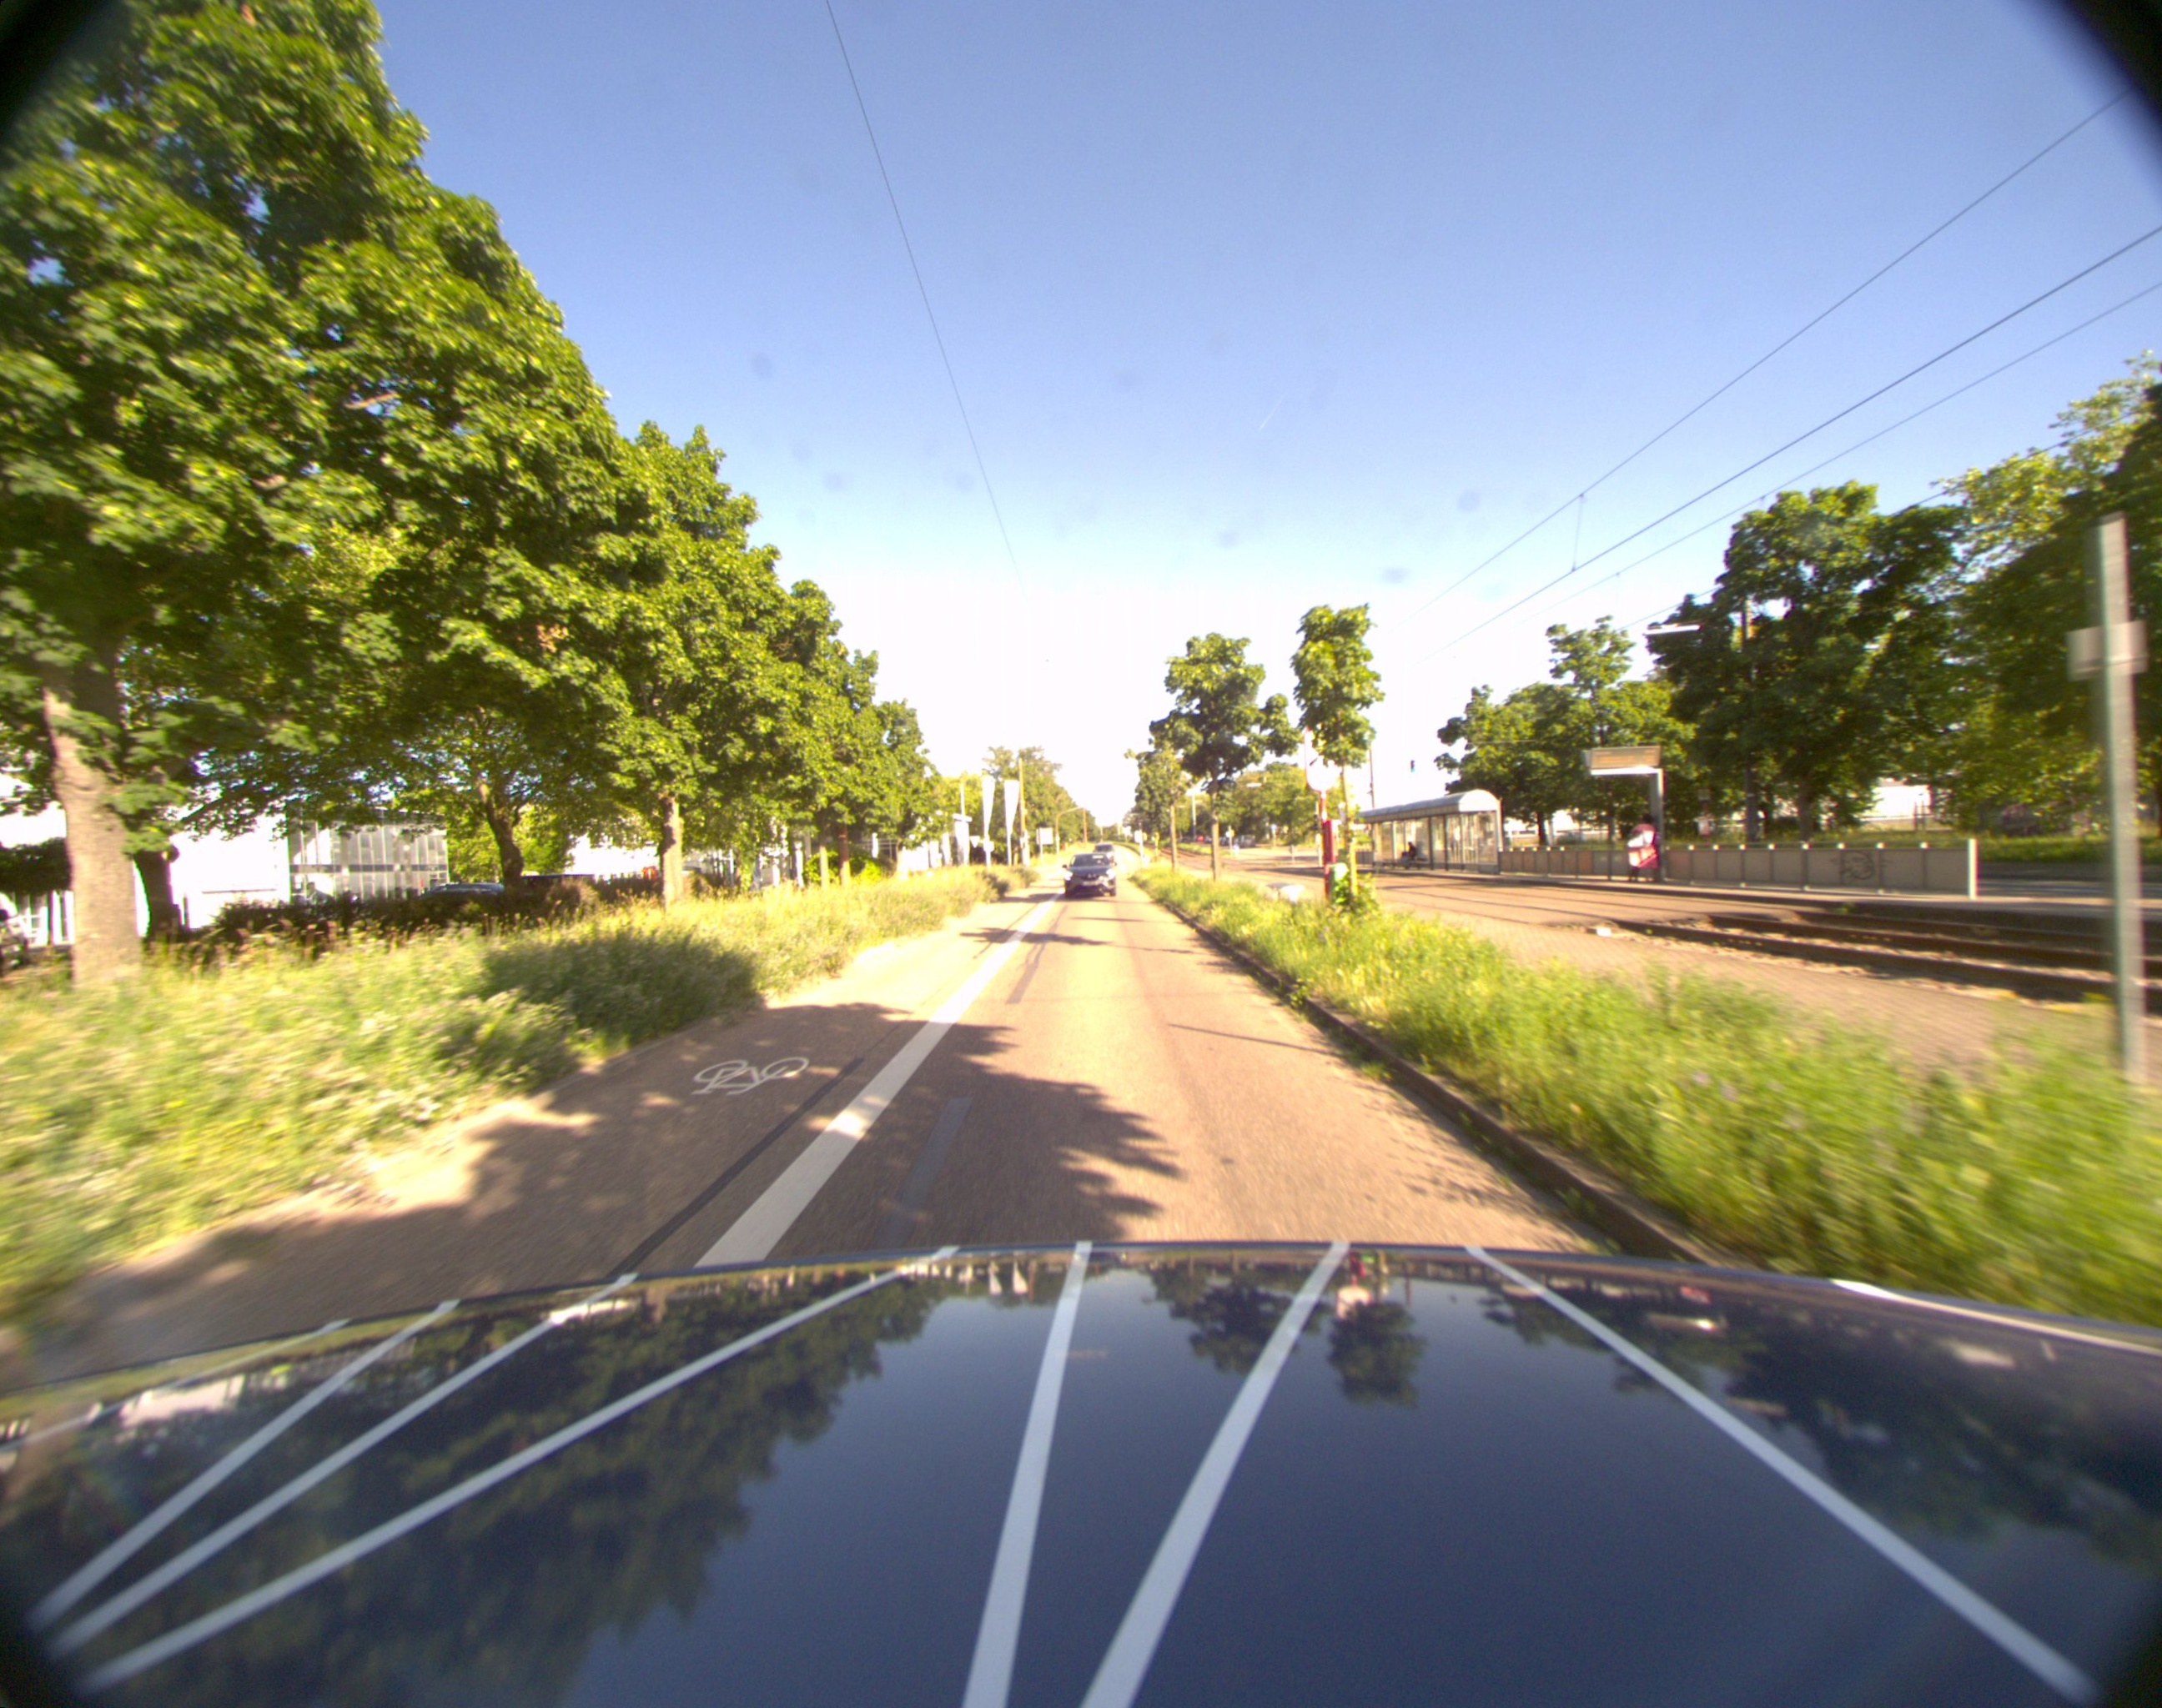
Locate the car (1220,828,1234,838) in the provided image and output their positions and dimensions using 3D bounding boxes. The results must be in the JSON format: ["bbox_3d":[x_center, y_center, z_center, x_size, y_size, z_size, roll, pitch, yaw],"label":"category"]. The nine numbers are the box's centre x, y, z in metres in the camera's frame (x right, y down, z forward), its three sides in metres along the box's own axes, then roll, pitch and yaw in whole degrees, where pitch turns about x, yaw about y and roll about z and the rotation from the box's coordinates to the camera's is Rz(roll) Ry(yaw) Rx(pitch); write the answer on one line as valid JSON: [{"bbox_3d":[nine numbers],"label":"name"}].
[{"bbox_3d":[24.250,-3.482,126.239,1.701,1.575,3.456,-2,0,-1],"label":"car"}]

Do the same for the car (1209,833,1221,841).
[{"bbox_3d":[27.054,-3.380,153.591,1.701,1.575,3.456,-2,0,-1],"label":"car"}]

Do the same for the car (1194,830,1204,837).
[{"bbox_3d":[26.693,-4.665,171.899,1.701,1.575,3.456,-2,0,-1],"label":"car"}]

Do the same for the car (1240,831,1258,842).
[{"bbox_3d":[24.892,-2.542,112.706,1.772,1.575,3.456,-2,0,-1],"label":"car"}]

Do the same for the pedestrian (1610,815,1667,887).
[{"bbox_3d":[13.921,-0.074,18.988,0.786,1.741,0.781,-3,1,0],"label":"pedestrian"}]

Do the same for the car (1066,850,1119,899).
[{"bbox_3d":[0.365,0.702,28.302,1.750,1.585,4.246,-3,0,-1],"label":"car"}]

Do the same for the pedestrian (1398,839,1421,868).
[{"bbox_3d":[14.461,-0.029,33.475,0.650,1.242,0.681,-1,1,-8],"label":"pedestrian"}]

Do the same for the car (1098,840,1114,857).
[{"bbox_3d":[2.647,-0.557,81.403,1.555,1.765,3.456,-2,0,-1],"label":"car"}]

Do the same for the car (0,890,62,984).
[{"bbox_3d":[-23.462,1.744,15.652,2.083,1.865,5.173,-4,1,-44],"label":"car"}]

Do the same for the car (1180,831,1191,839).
[{"bbox_3d":[21.382,-3.857,155.305,1.701,1.575,3.456,-2,0,-1],"label":"car"}]

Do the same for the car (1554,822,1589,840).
[{"bbox_3d":[52.841,-2.463,81.938,1.996,1.696,4.004,-3,1,16],"label":"car"}]
